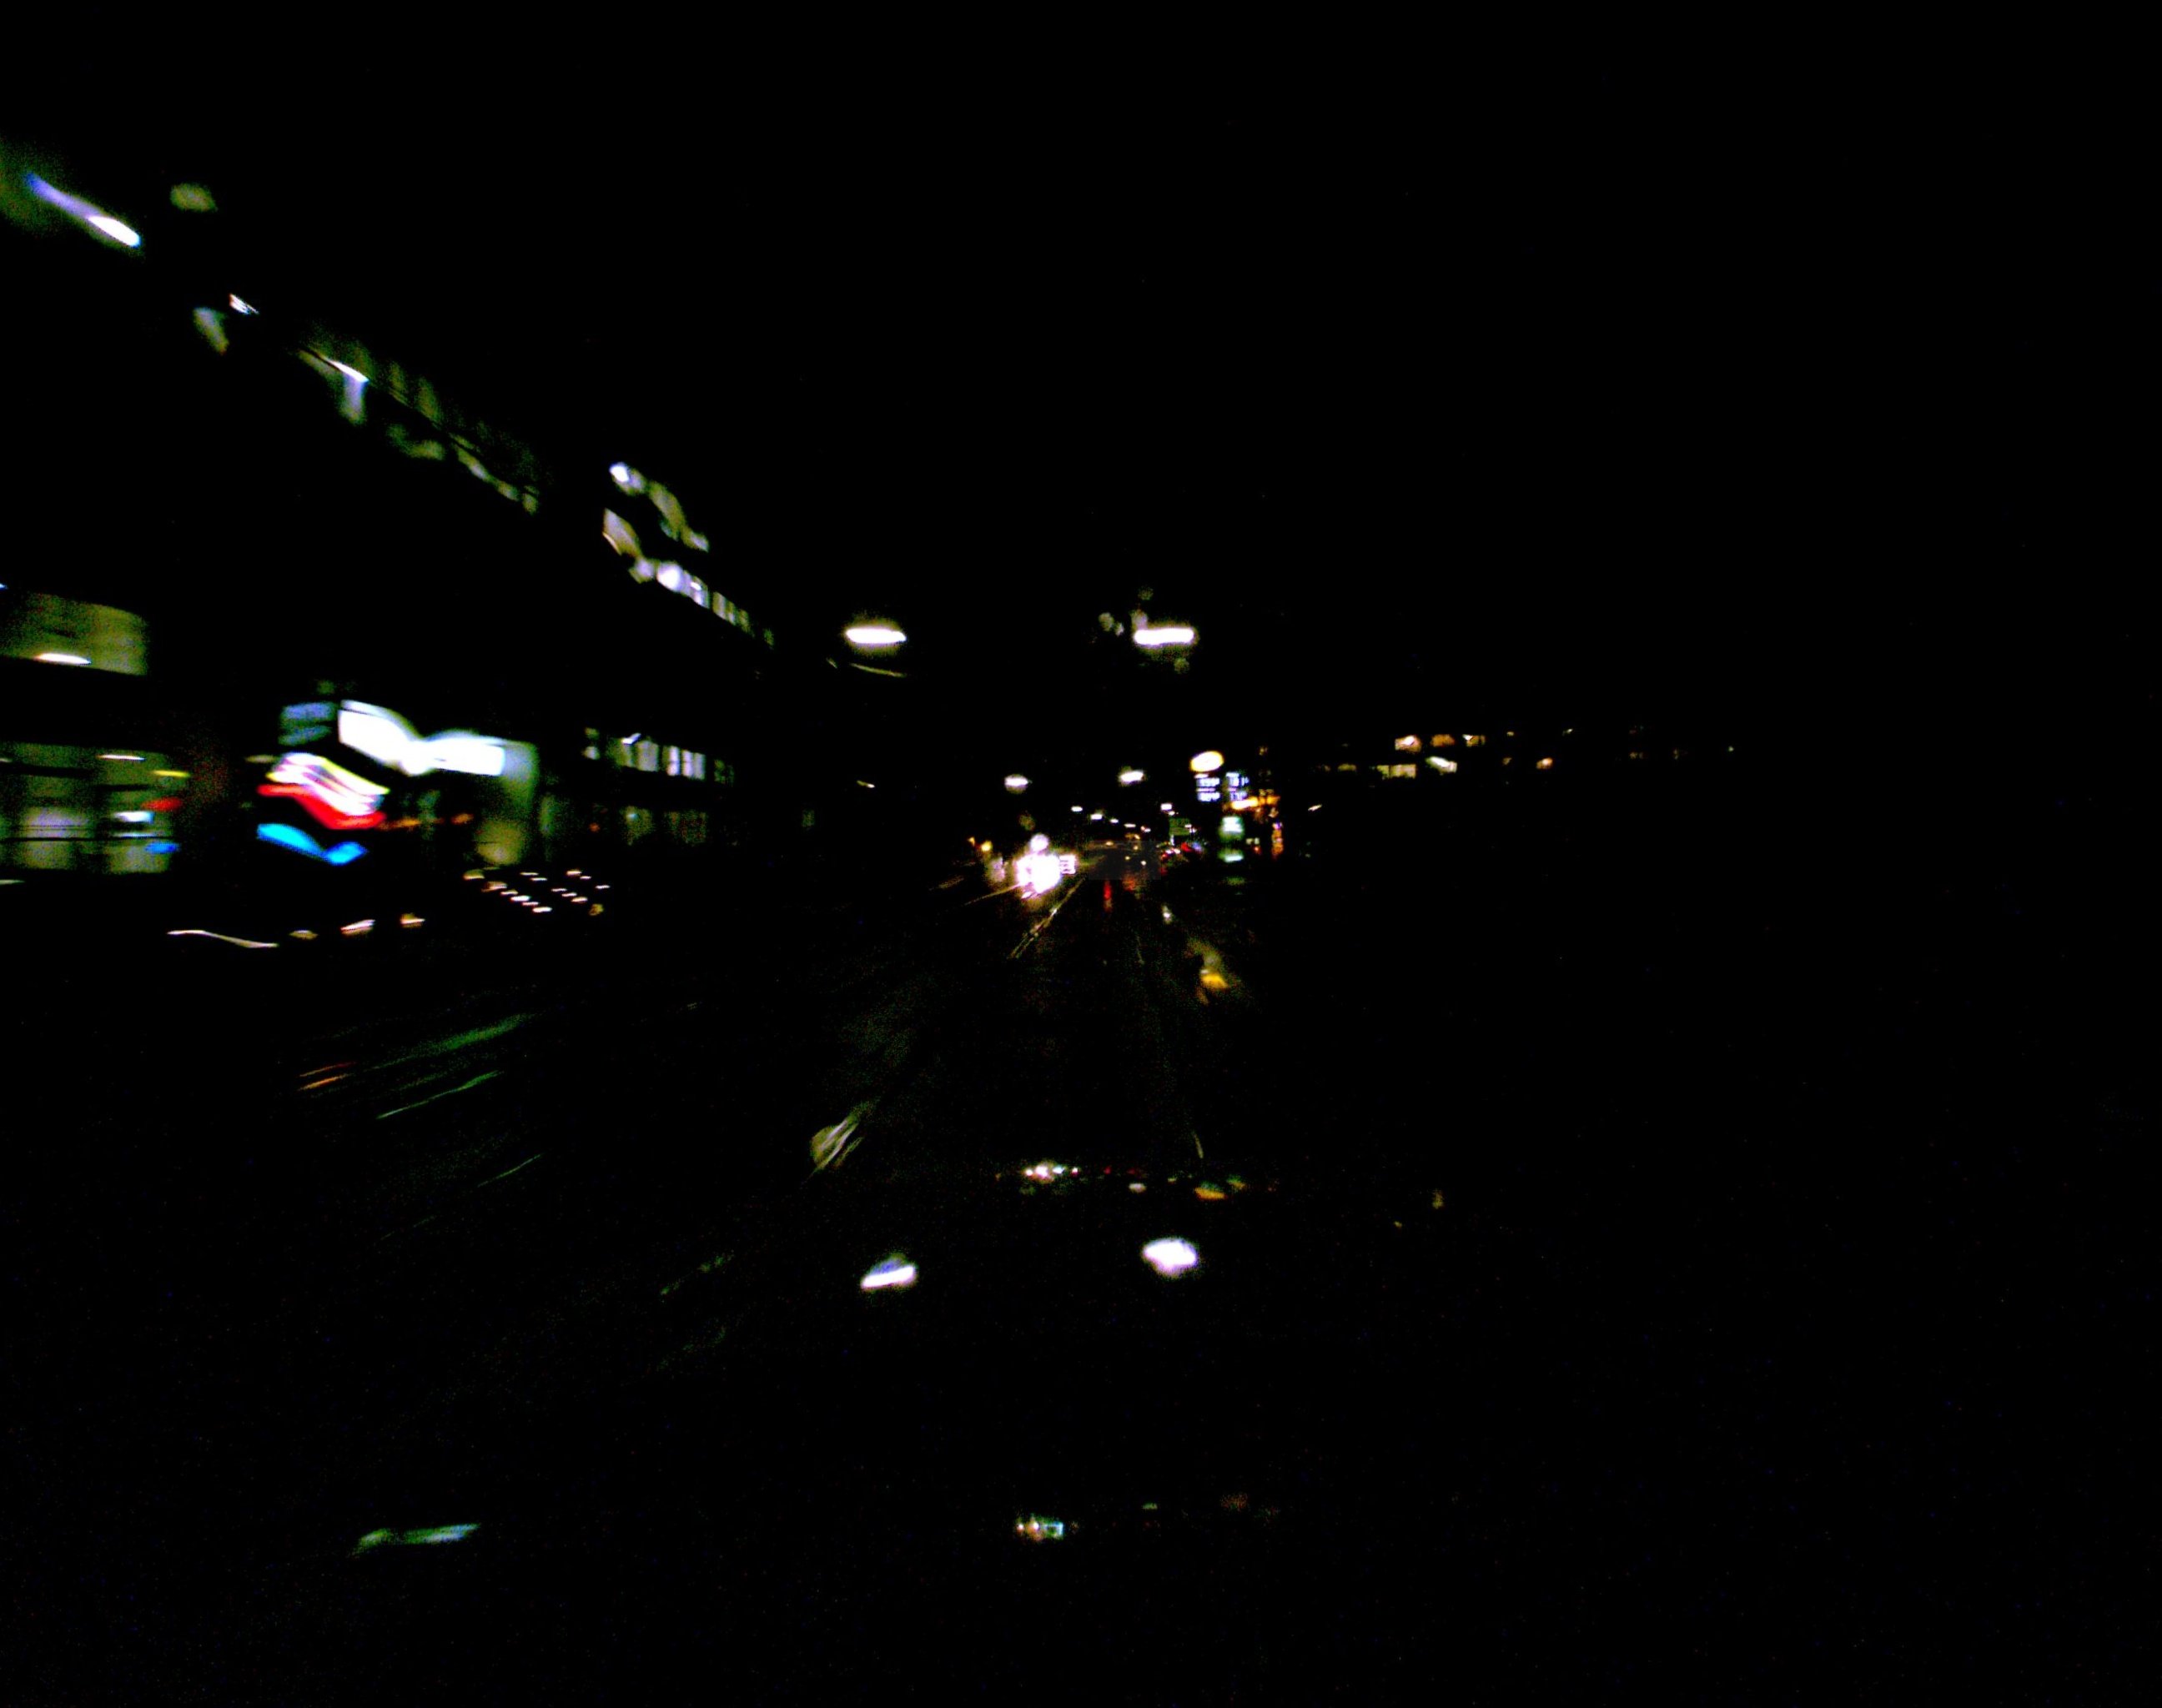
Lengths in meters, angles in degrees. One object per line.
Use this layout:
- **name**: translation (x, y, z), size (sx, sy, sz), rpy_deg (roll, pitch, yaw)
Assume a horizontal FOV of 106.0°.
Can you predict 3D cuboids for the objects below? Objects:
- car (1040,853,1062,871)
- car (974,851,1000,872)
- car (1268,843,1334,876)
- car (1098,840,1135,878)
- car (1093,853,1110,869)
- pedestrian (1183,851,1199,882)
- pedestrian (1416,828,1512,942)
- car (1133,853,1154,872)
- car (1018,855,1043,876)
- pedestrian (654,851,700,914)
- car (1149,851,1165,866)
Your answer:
- **car**: translation (-3.332, 0.873, 91.306), size (2.313, 1.932, 4.960), rpy_deg (-1, 0, -2)
- **car**: translation (-9.365, 0.737, 81.407), size (1.985, 2.014, 4.003), rpy_deg (-1, 0, 3)
- **car**: translation (11.950, 0.273, 44.045), size (2.004, 1.700, 4.148), rpy_deg (-1, 0, 37)
- **car**: translation (2.310, 0.333, 53.850), size (2.236, 2.361, 4.394), rpy_deg (-1, 0, 1)
- **car**: translation (2.354, 0.781, 94.298), size (1.986, 1.816, 4.001), rpy_deg (-1, 0, 1)
- **pedestrian**: translation (6.417, 0.716, 47.329), size (0.771, 1.776, 0.697), rpy_deg (-1, -1, 19)
- **pedestrian**: translation (6.026, 0.469, 12.860), size (0.937, 1.663, 0.993), rpy_deg (-4, 0, -3)
- **car**: translation (6.294, 0.867, 82.074), size (2.007, 1.815, 4.004), rpy_deg (-1, 0, 4)
- **car**: translation (-4.390, 0.964, 70.876), size (1.988, 1.724, 4.073), rpy_deg (-1, 0, -2)
- **pedestrian**: translation (-11.099, 0.763, 22.395), size (0.783, 1.686, 0.883), rpy_deg (-1, -1, 1)
- **car**: translation (10.485, 0.593, 112.636), size (1.986, 2.014, 4.001), rpy_deg (-1, 0, 1)
